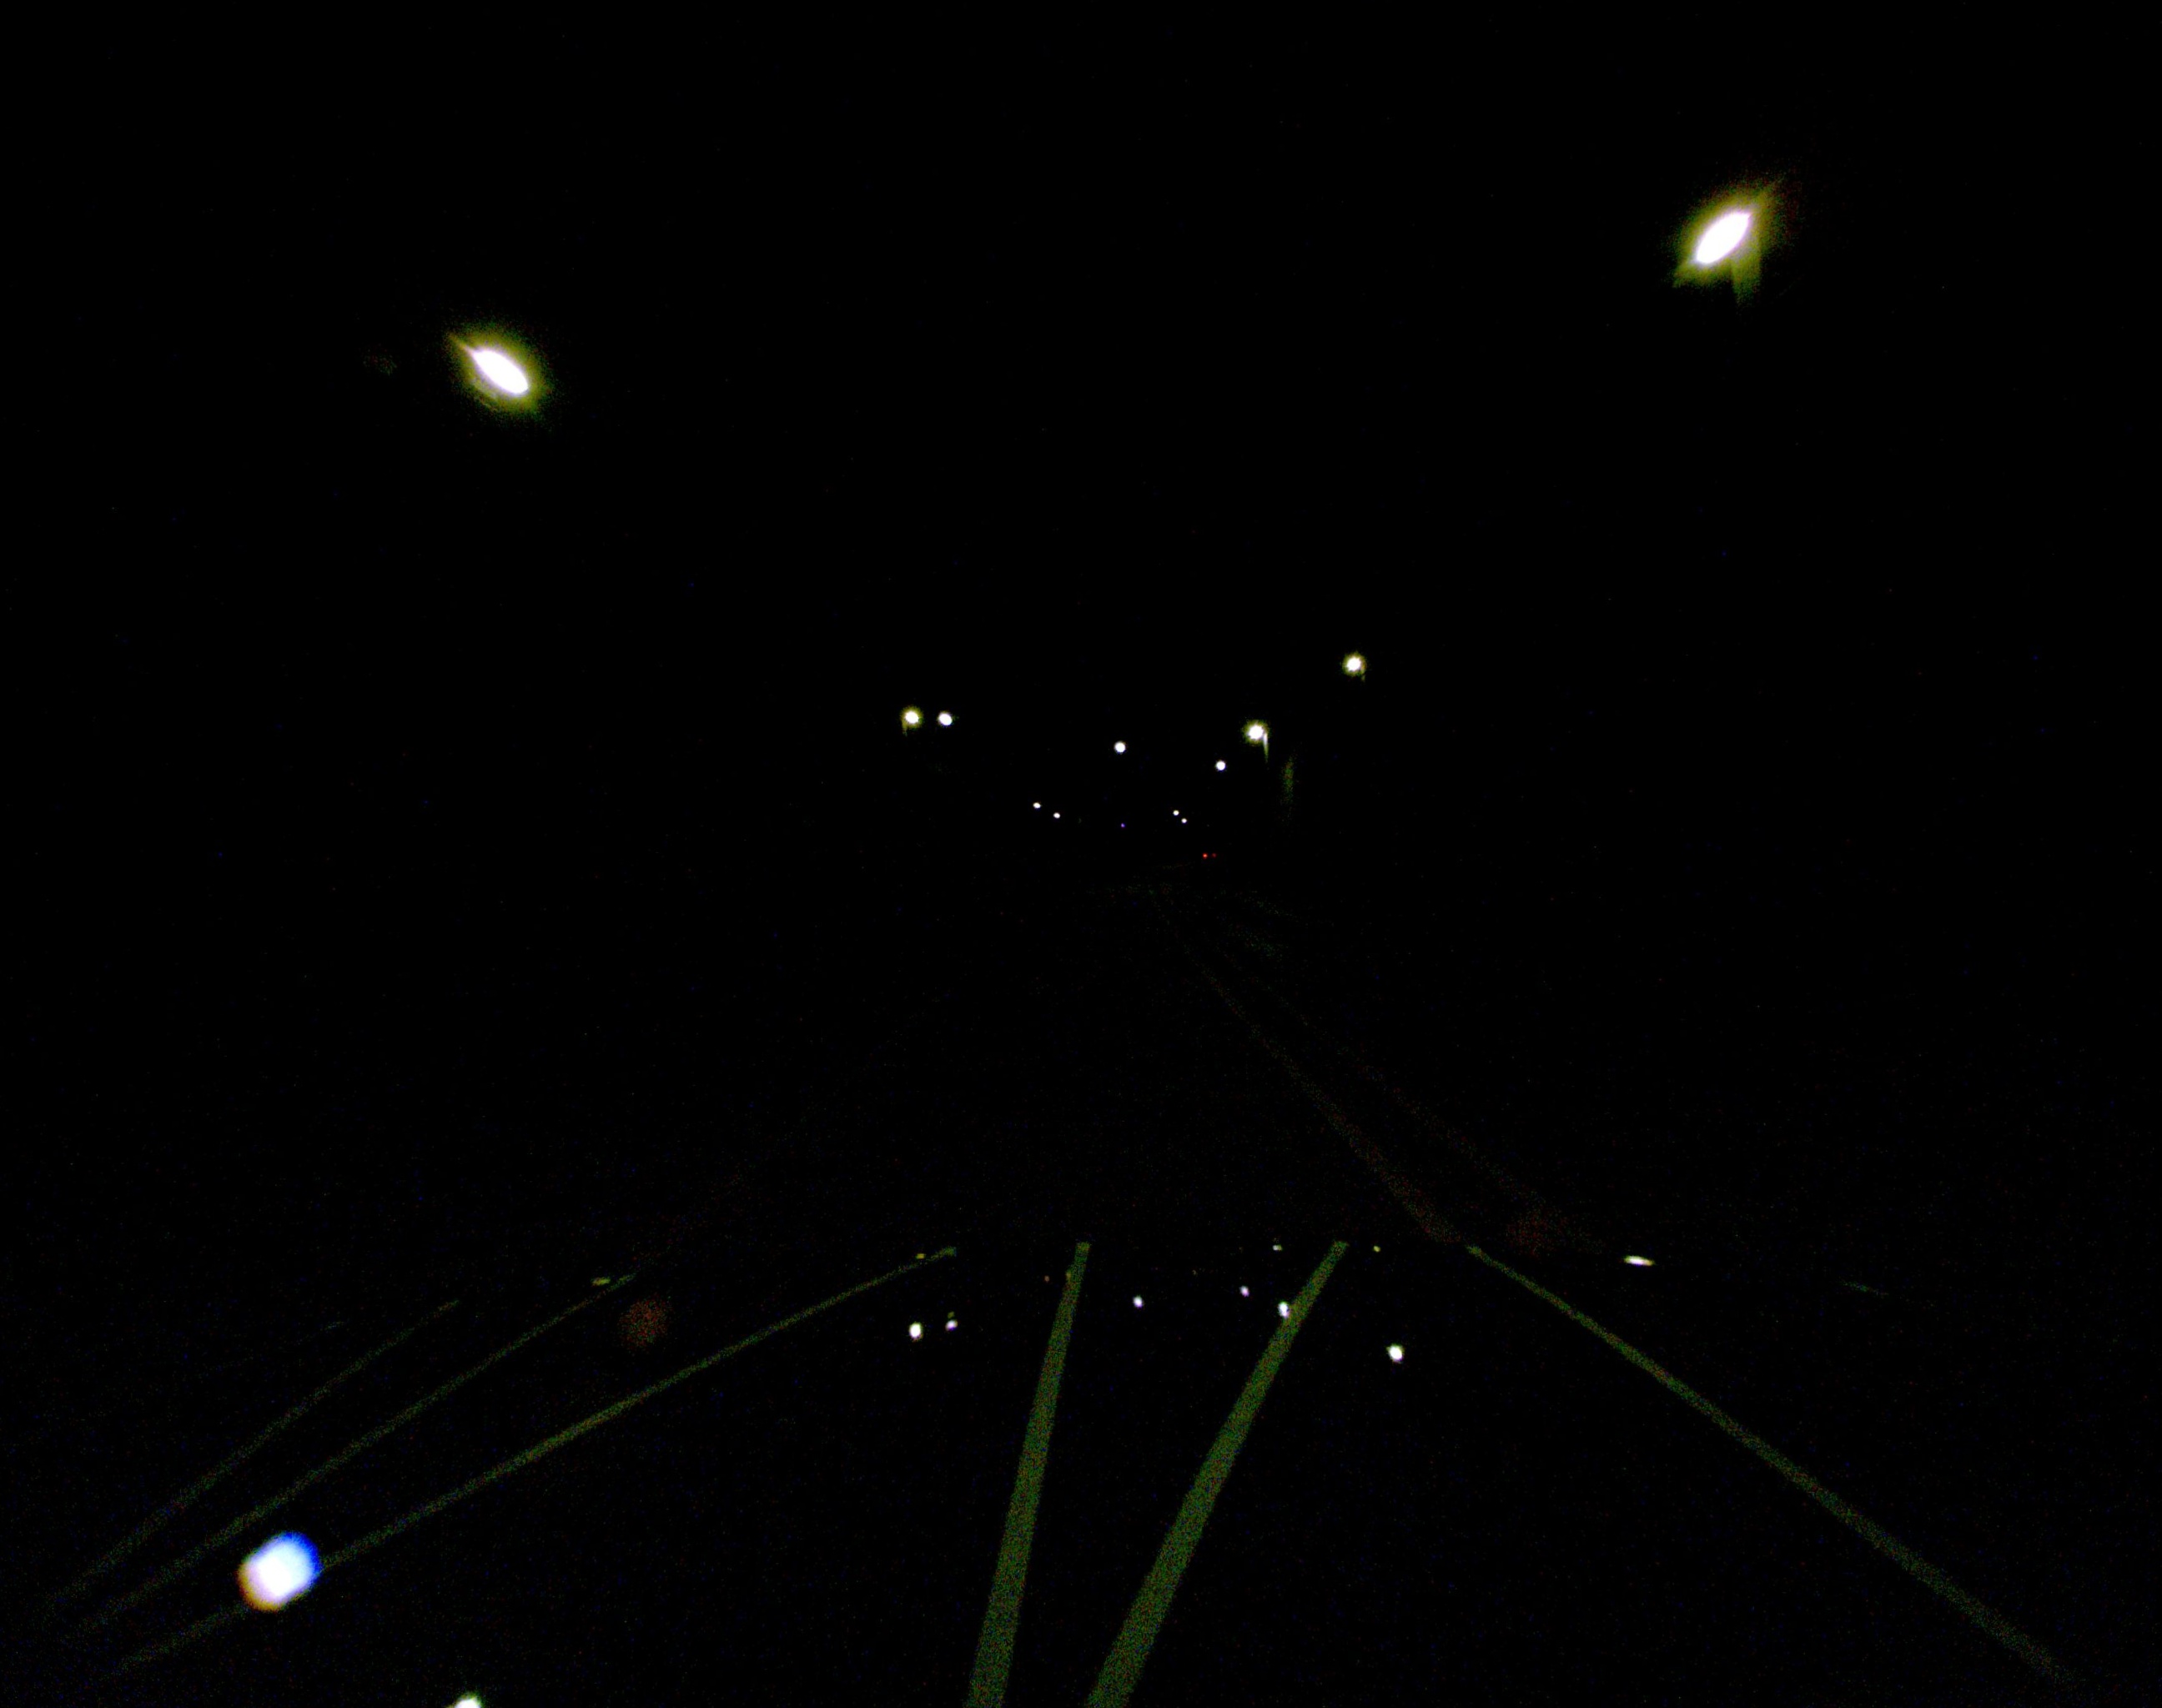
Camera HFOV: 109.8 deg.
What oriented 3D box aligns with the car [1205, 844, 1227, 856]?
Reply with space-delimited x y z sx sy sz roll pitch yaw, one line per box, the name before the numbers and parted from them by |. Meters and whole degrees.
car | 19.837 -0.626 111.158 1.860 1.501 4.007 -2 1 30
